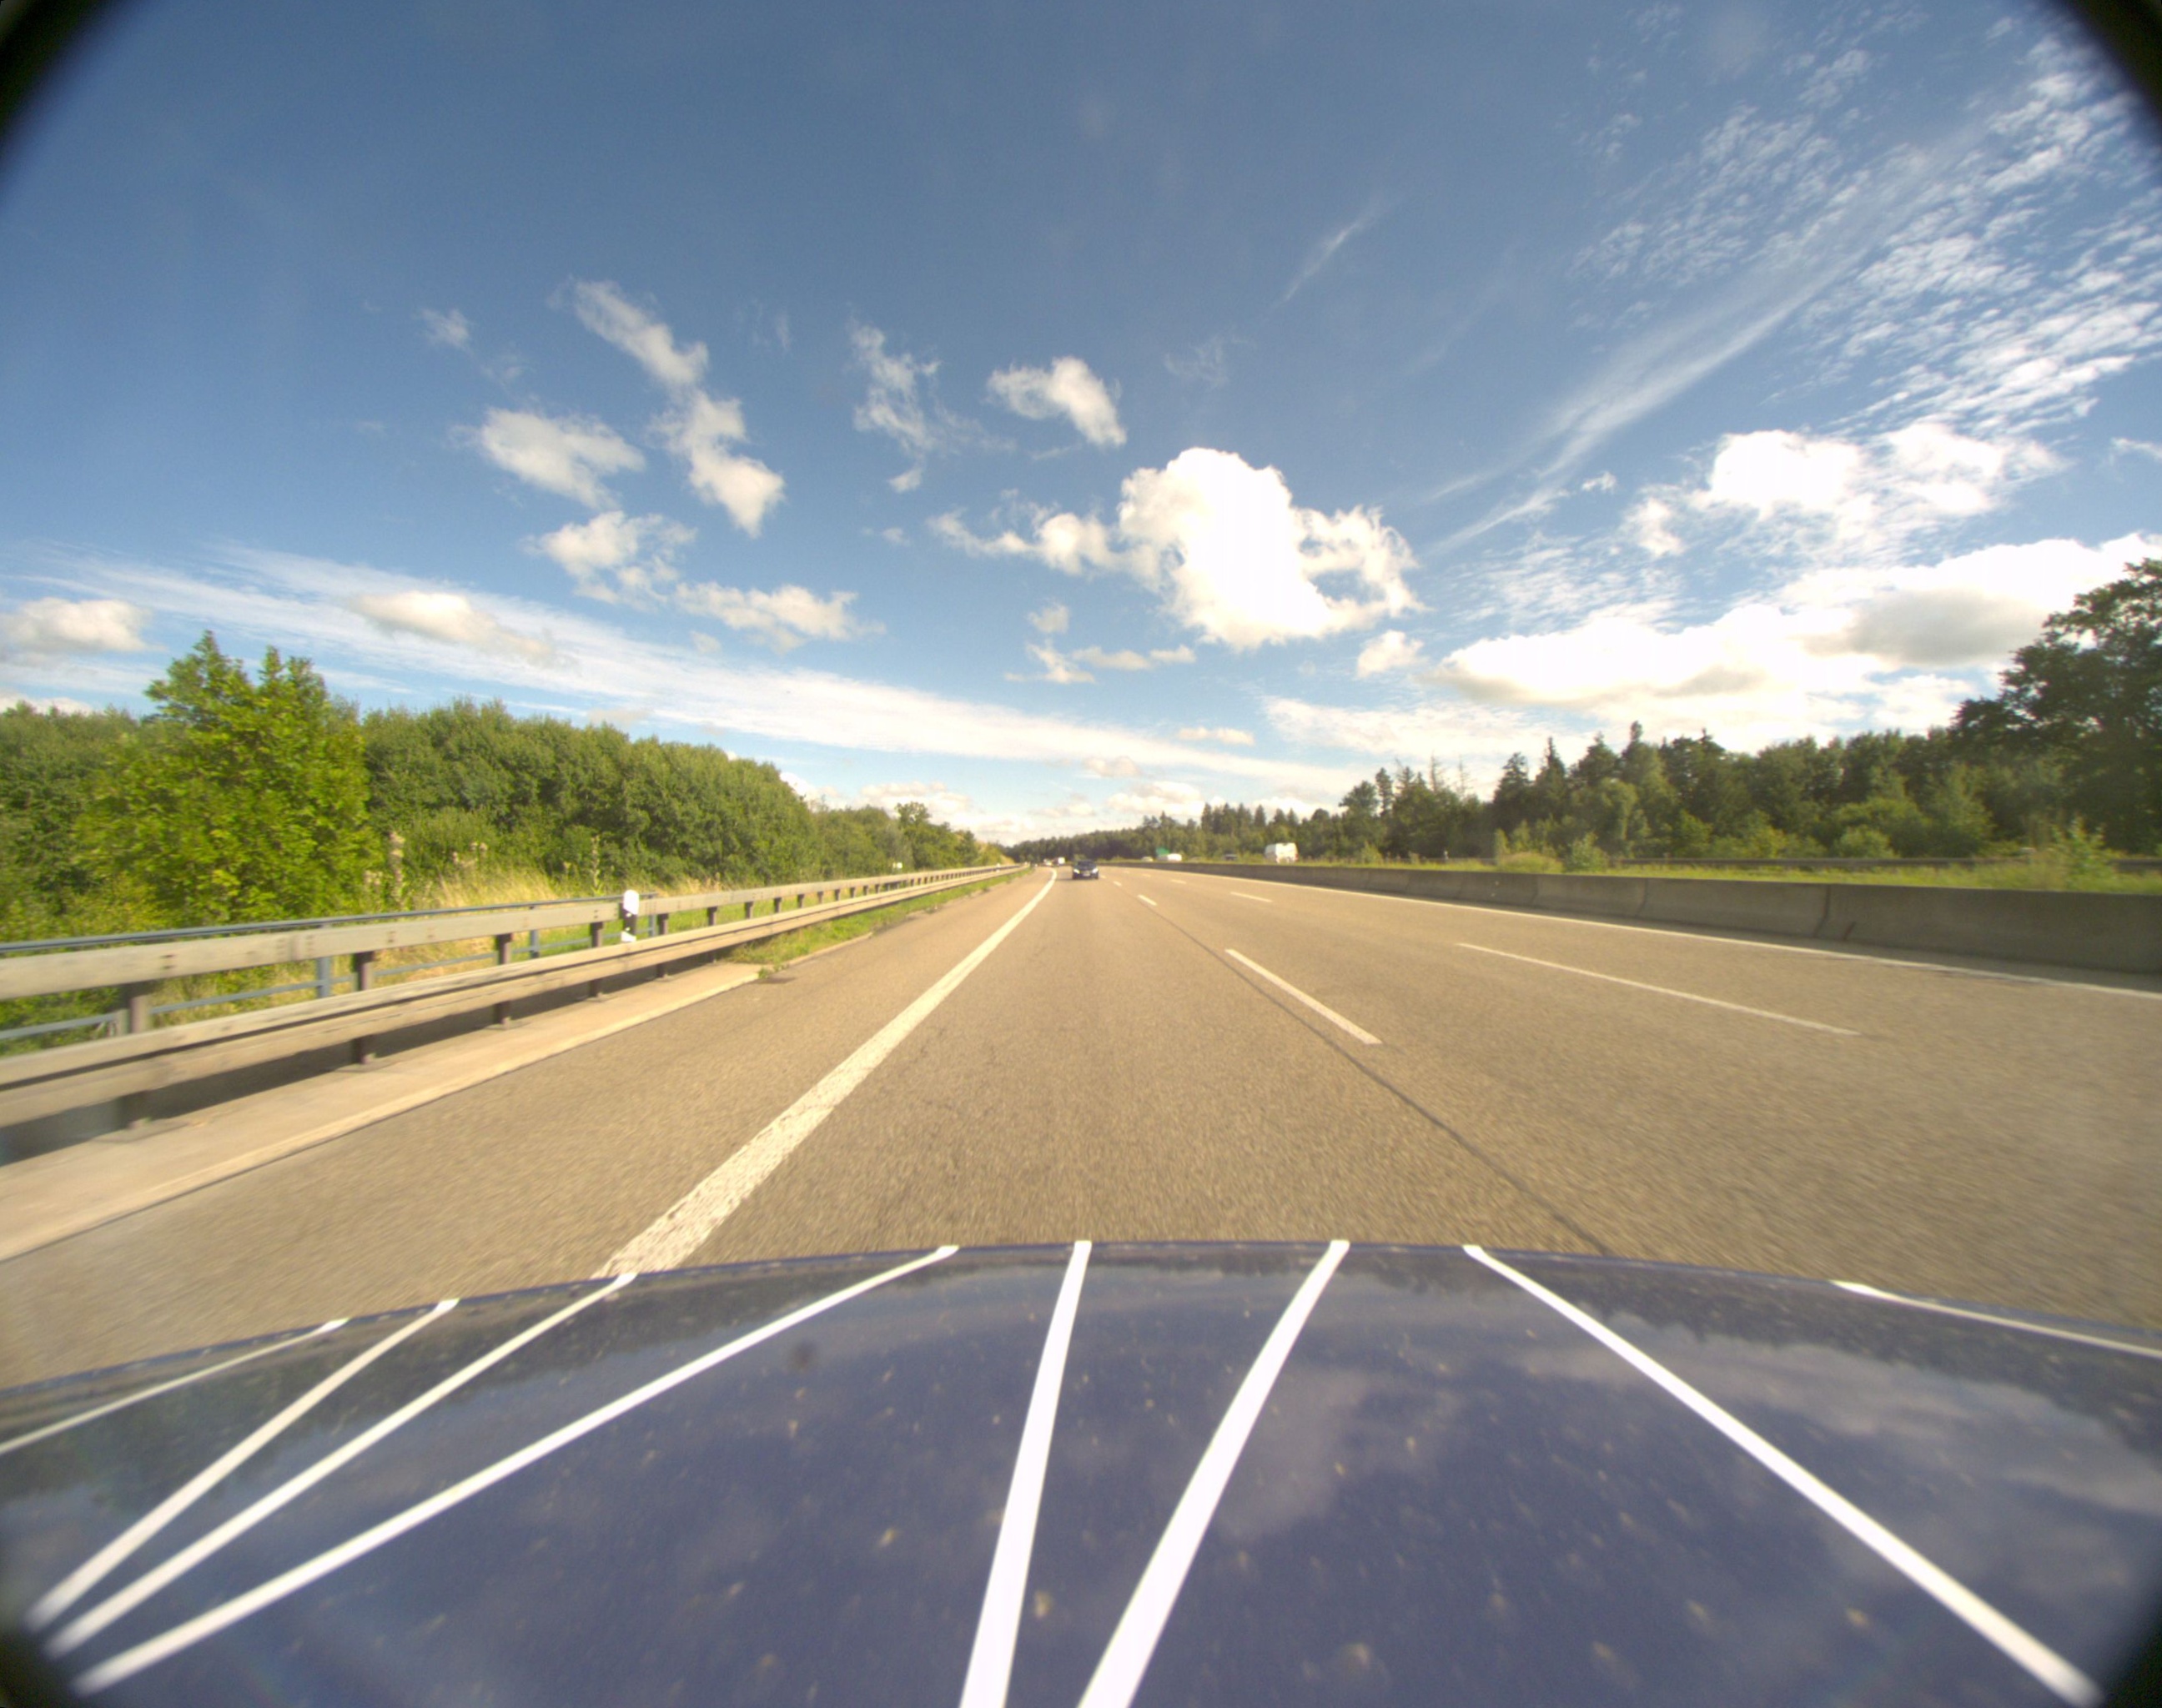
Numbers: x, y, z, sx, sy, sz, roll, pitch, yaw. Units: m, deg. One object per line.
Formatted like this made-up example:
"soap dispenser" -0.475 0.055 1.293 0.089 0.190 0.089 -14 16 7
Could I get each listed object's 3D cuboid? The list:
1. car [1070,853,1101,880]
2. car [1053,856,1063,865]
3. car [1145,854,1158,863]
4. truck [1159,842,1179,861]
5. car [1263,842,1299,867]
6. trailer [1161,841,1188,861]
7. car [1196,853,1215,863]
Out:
"car" 0.294 0.894 55.671 1.999 1.827 3.999 -2 0 -2
"car" -5.360 1.555 176.809 1.998 2.002 4.000 -2 0 1
"car" 12.819 0.840 138.262 1.931 1.599 4.463 -2 0 -1
"truck" 19.275 -0.496 166.178 3.384 3.985 5.862 -2 0 -2
"car" 19.160 0.016 73.050 2.070 2.231 5.203 -2 0 0
"trailer" 19.463 -0.526 158.779 3.384 3.985 13.638 -2 0 -1
"car" 18.197 0.550 111.384 1.999 1.395 4.463 -2 0 -1
